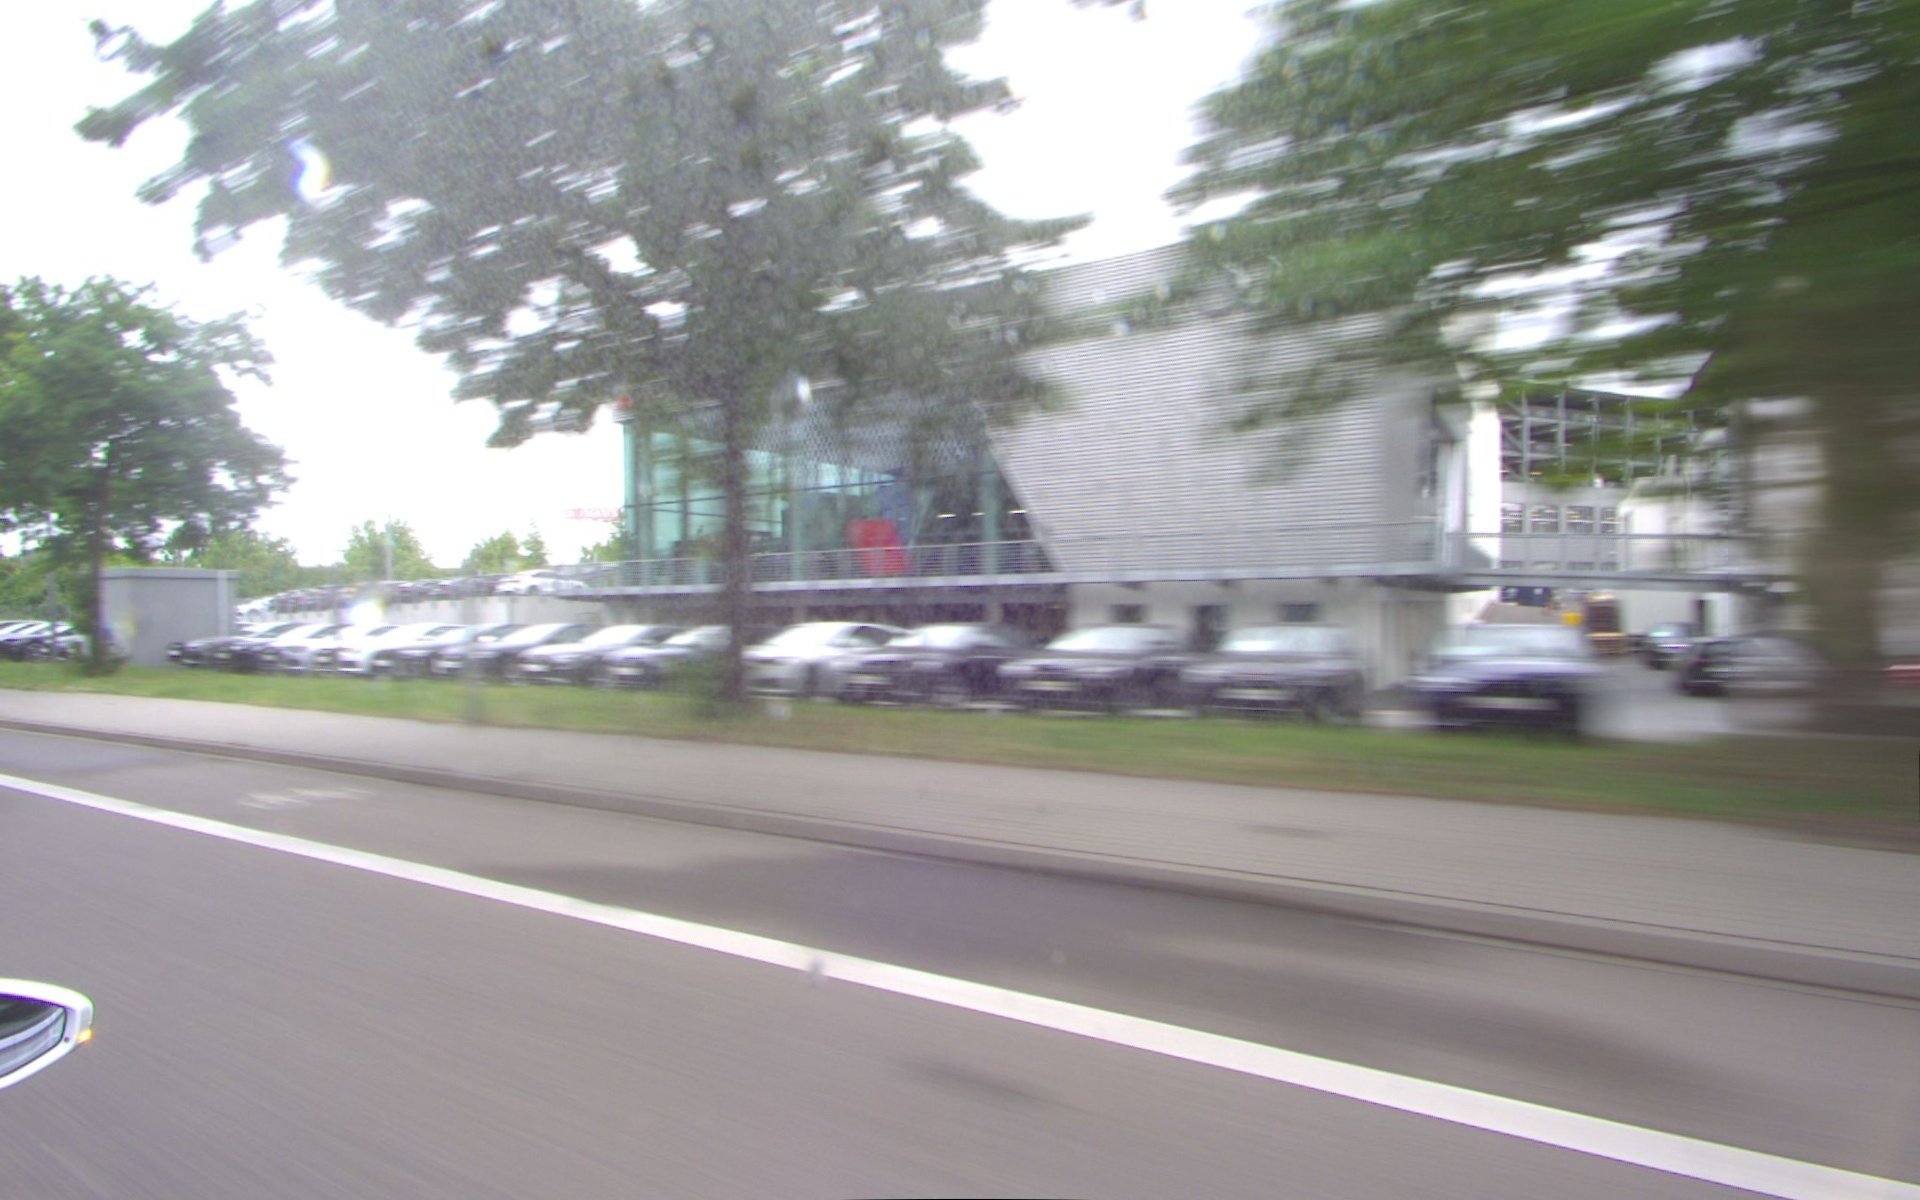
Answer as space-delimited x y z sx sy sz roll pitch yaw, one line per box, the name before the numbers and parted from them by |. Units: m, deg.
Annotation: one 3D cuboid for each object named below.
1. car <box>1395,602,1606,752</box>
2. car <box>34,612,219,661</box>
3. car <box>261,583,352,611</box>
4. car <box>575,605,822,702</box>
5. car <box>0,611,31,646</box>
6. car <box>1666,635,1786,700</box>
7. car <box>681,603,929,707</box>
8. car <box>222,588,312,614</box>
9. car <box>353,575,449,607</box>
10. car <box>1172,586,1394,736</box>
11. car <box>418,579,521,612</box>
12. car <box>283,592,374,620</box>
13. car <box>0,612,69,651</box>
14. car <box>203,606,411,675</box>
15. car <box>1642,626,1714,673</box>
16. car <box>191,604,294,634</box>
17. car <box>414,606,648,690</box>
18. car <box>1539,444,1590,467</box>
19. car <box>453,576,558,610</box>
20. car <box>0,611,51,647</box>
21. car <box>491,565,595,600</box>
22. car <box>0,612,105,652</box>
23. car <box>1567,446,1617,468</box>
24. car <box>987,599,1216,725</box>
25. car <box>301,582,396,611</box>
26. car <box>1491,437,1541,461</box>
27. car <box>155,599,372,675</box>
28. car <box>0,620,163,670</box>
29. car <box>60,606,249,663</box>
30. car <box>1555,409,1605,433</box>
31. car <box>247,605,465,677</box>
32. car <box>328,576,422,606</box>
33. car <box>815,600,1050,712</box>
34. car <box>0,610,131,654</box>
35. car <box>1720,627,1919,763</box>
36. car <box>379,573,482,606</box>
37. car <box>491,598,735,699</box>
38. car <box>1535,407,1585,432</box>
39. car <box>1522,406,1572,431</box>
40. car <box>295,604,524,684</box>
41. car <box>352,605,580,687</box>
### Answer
car | 6.485 0.980 11.929 1.843 1.410 4.124 2 -6 31
car | -27.589 1.264 33.289 1.972 1.409 4.289 -1 -5 33
car | -37.967 -0.153 58.252 1.704 1.454 4.081 2 0 30
car | -4.687 1.058 18.548 1.948 1.504 4.180 2 -4 32
car | -42.256 1.211 42.295 1.704 1.454 4.081 2 0 30
car | 19.893 1.692 26.182 1.842 1.537 4.120 -1 -2 28
car | -2.511 1.007 17.275 1.930 1.504 4.195 2 -4 31
car | -42.222 0.095 61.080 1.704 1.454 4.194 2 0 30
car | -29.420 -0.466 52.811 1.704 1.516 4.081 2 0 30
car | 4.443 0.901 13.300 1.848 1.621 4.238 2 -6 31
car | -24.740 -0.200 50.614 1.940 1.516 4.330 2 0 30
car | -35.749 0.372 56.781 1.704 1.454 4.081 2 0 30
car | -38.342 1.240 39.773 1.794 1.454 4.081 2 0 30
car | -17.419 1.130 26.908 1.931 1.463 4.174 2 -5 33
car | 26.828 1.792 37.525 1.843 1.655 4.117 -1 -2 31
car | -37.559 0.998 52.500 1.704 1.454 4.081 2 0 30
car | -8.968 1.067 21.279 1.906 1.473 4.173 2 -4 33
car | 61.351 -14.682 101.684 1.967 1.689 3.986 1 0 -23
car | -22.339 -0.305 49.369 2.038 1.516 4.330 2 0 30
car | -40.306 1.179 41.105 1.818 1.454 4.081 2 0 30
car | -19.946 -0.805 48.065 1.853 1.516 4.330 2 0 30
car | -36.028 1.227 38.609 1.816 1.508 4.337 0 -1 31
car | 65.766 -14.833 104.197 1.967 1.689 3.986 1 0 -23
car | 2.248 0.998 14.779 1.798 1.503 4.209 2 -6 31
car | -33.847 -0.194 55.488 1.917 1.454 4.081 2 0 30
car | 54.845 -14.901 98.829 1.967 1.689 3.986 1 0 -23
car | -19.554 1.097 28.335 1.971 1.722 4.548 2 -5 33
car | -31.808 1.563 36.085 1.971 1.592 4.437 0 0 31
car | -25.564 1.139 31.937 1.972 1.583 4.255 -1 -5 33
car | 63.710 -18.379 103.014 1.967 1.689 3.986 1 0 -23
car | -15.367 1.098 25.707 2.000 1.522 4.291 0 -6 33
car | -31.617 -0.480 54.204 1.704 1.454 4.081 2 0 30
car | -0.285 0.963 15.993 1.792 1.503 4.063 2 -5 31
car | -34.034 1.212 37.400 1.901 1.522 4.340 0 -4 31
car | 11.952 1.166 12.117 1.736 1.518 4.272 2 0 -12
car | -27.168 -0.531 51.515 1.853 1.516 4.330 2 0 30
car | -6.735 1.021 19.861 1.971 1.682 4.173 2 -4 33
car | 61.066 -18.365 101.996 1.967 1.689 3.986 1 0 -23
car | 59.123 -18.280 100.892 1.967 1.689 3.986 1 0 -23
car | -13.222 1.120 24.351 1.971 1.538 4.392 2 -5 32
car | -11.128 1.089 22.847 1.971 1.486 4.174 2 -5 33
